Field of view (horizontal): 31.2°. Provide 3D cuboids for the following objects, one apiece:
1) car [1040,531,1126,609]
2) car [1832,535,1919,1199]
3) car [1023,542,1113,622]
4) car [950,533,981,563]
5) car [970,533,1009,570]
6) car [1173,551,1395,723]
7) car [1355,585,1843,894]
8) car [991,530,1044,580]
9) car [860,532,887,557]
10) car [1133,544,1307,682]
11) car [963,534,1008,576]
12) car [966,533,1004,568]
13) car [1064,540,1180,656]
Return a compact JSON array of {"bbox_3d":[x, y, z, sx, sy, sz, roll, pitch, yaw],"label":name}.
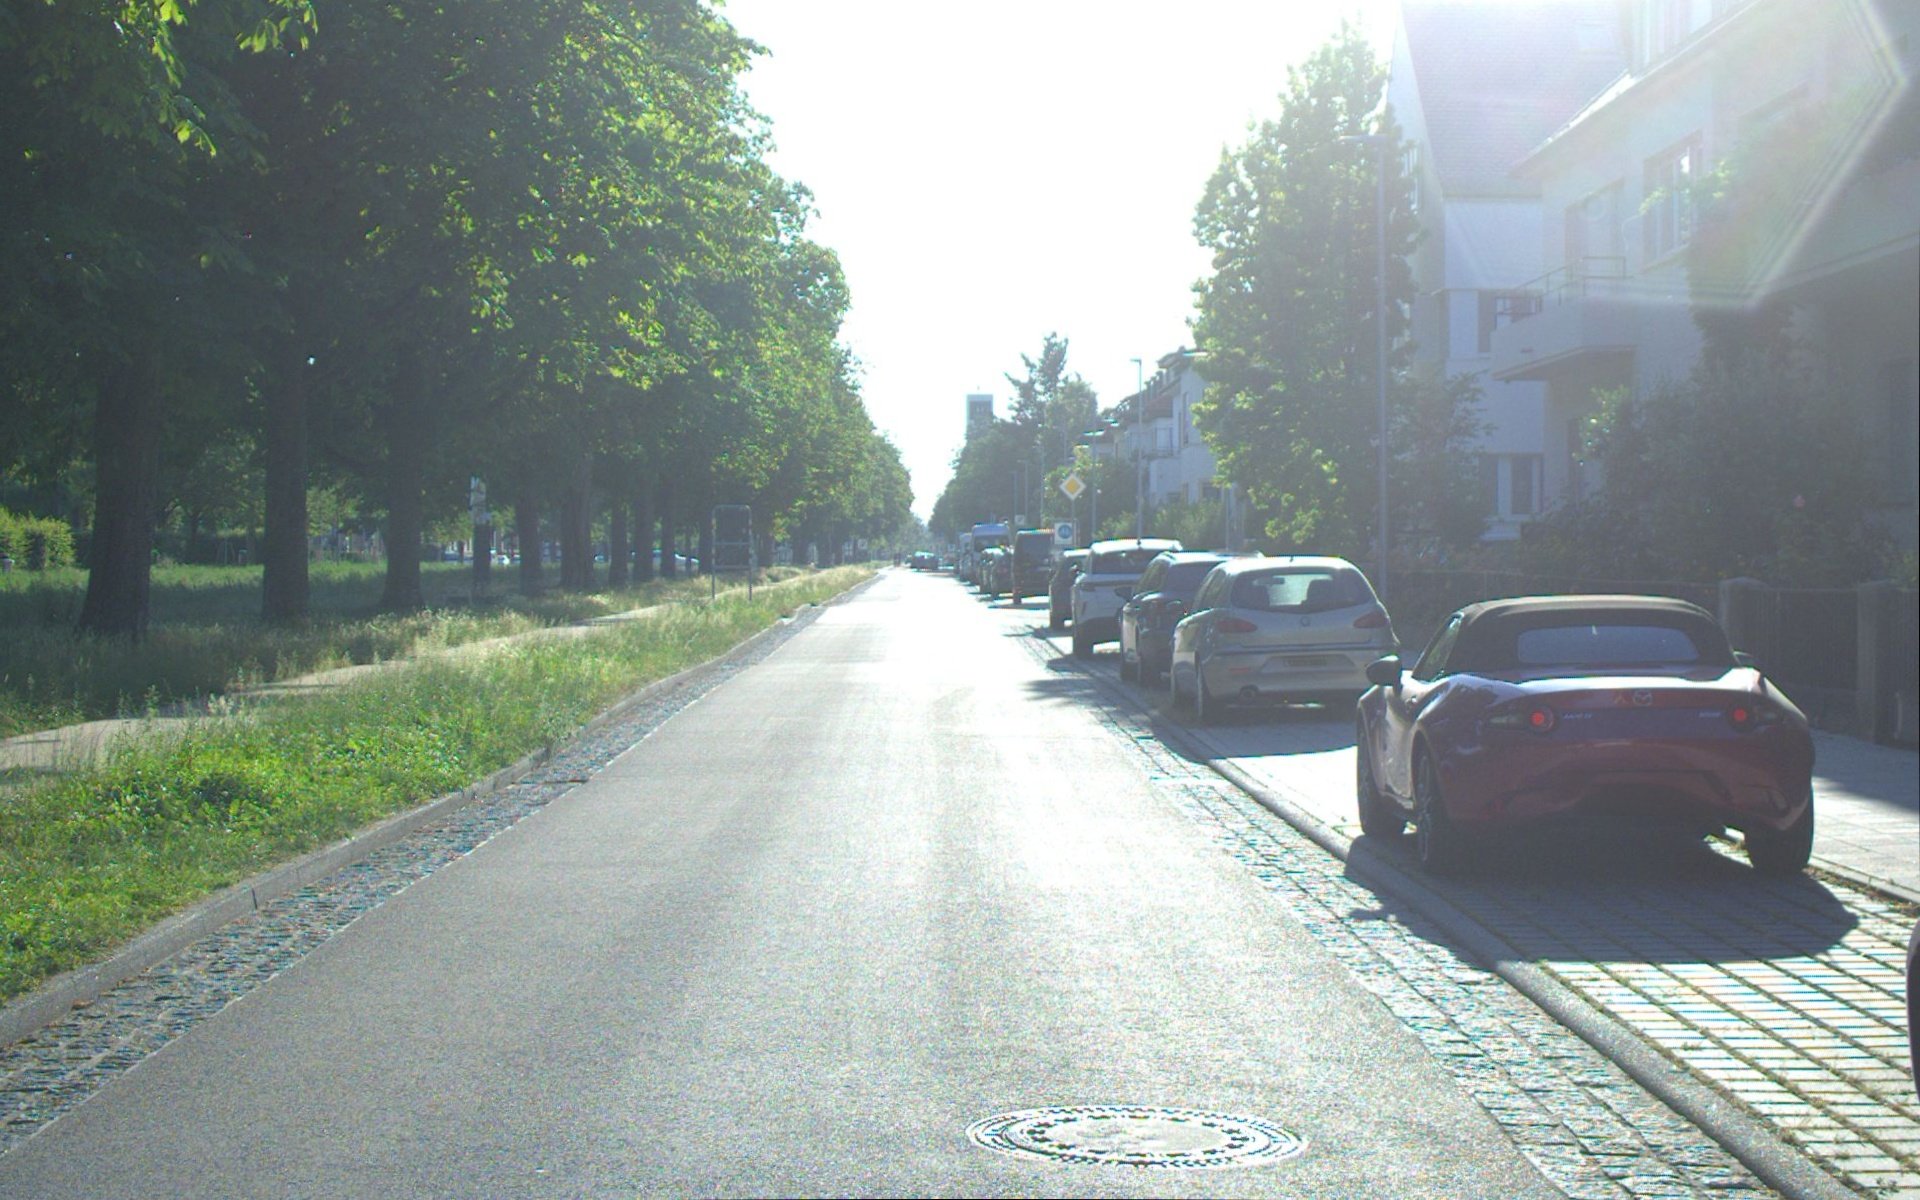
[{"bbox_3d":[2.501,-0.635,70.396,1.652,1.536,3.267,-1,1,1],"label":"car"},{"bbox_3d":[2.872,0.626,6.385,1.592,1.504,3.592,-1,1,0],"label":"car"},{"bbox_3d":[1.993,-0.348,64.141,1.594,1.429,3.267,-1,1,1],"label":"car"},{"bbox_3d":[0.281,-2.803,185.352,1.652,1.536,3.267,1,1,0],"label":"car"},{"bbox_3d":[1.279,-2.122,149.389,1.652,1.536,3.267,1,1,1],"label":"car"},{"bbox_3d":[2.774,0.285,30.001,1.652,1.391,3.267,-1,1,1],"label":"car"},{"bbox_3d":[2.908,0.585,16.326,1.693,1.244,3.497,-1,1,1],"label":"car"},{"bbox_3d":[1.821,-1.451,110.394,1.652,1.536,3.267,1,1,1],"label":"car"},{"bbox_3d":[-5.524,-3.549,220.421,1.652,1.536,3.267,1,1,0],"label":"car"},{"bbox_3d":[2.753,0.108,36.958,1.652,1.391,3.267,-1,1,1],"label":"car"},{"bbox_3d":[0.954,-1.689,128.761,1.652,1.536,3.267,1,1,1],"label":"car"},{"bbox_3d":[1.128,-2.223,154.703,1.652,1.536,3.267,1,1,1],"label":"car"},{"bbox_3d":[2.261,-0.061,48.472,1.498,1.561,3.267,-1,1,1],"label":"car"}]
